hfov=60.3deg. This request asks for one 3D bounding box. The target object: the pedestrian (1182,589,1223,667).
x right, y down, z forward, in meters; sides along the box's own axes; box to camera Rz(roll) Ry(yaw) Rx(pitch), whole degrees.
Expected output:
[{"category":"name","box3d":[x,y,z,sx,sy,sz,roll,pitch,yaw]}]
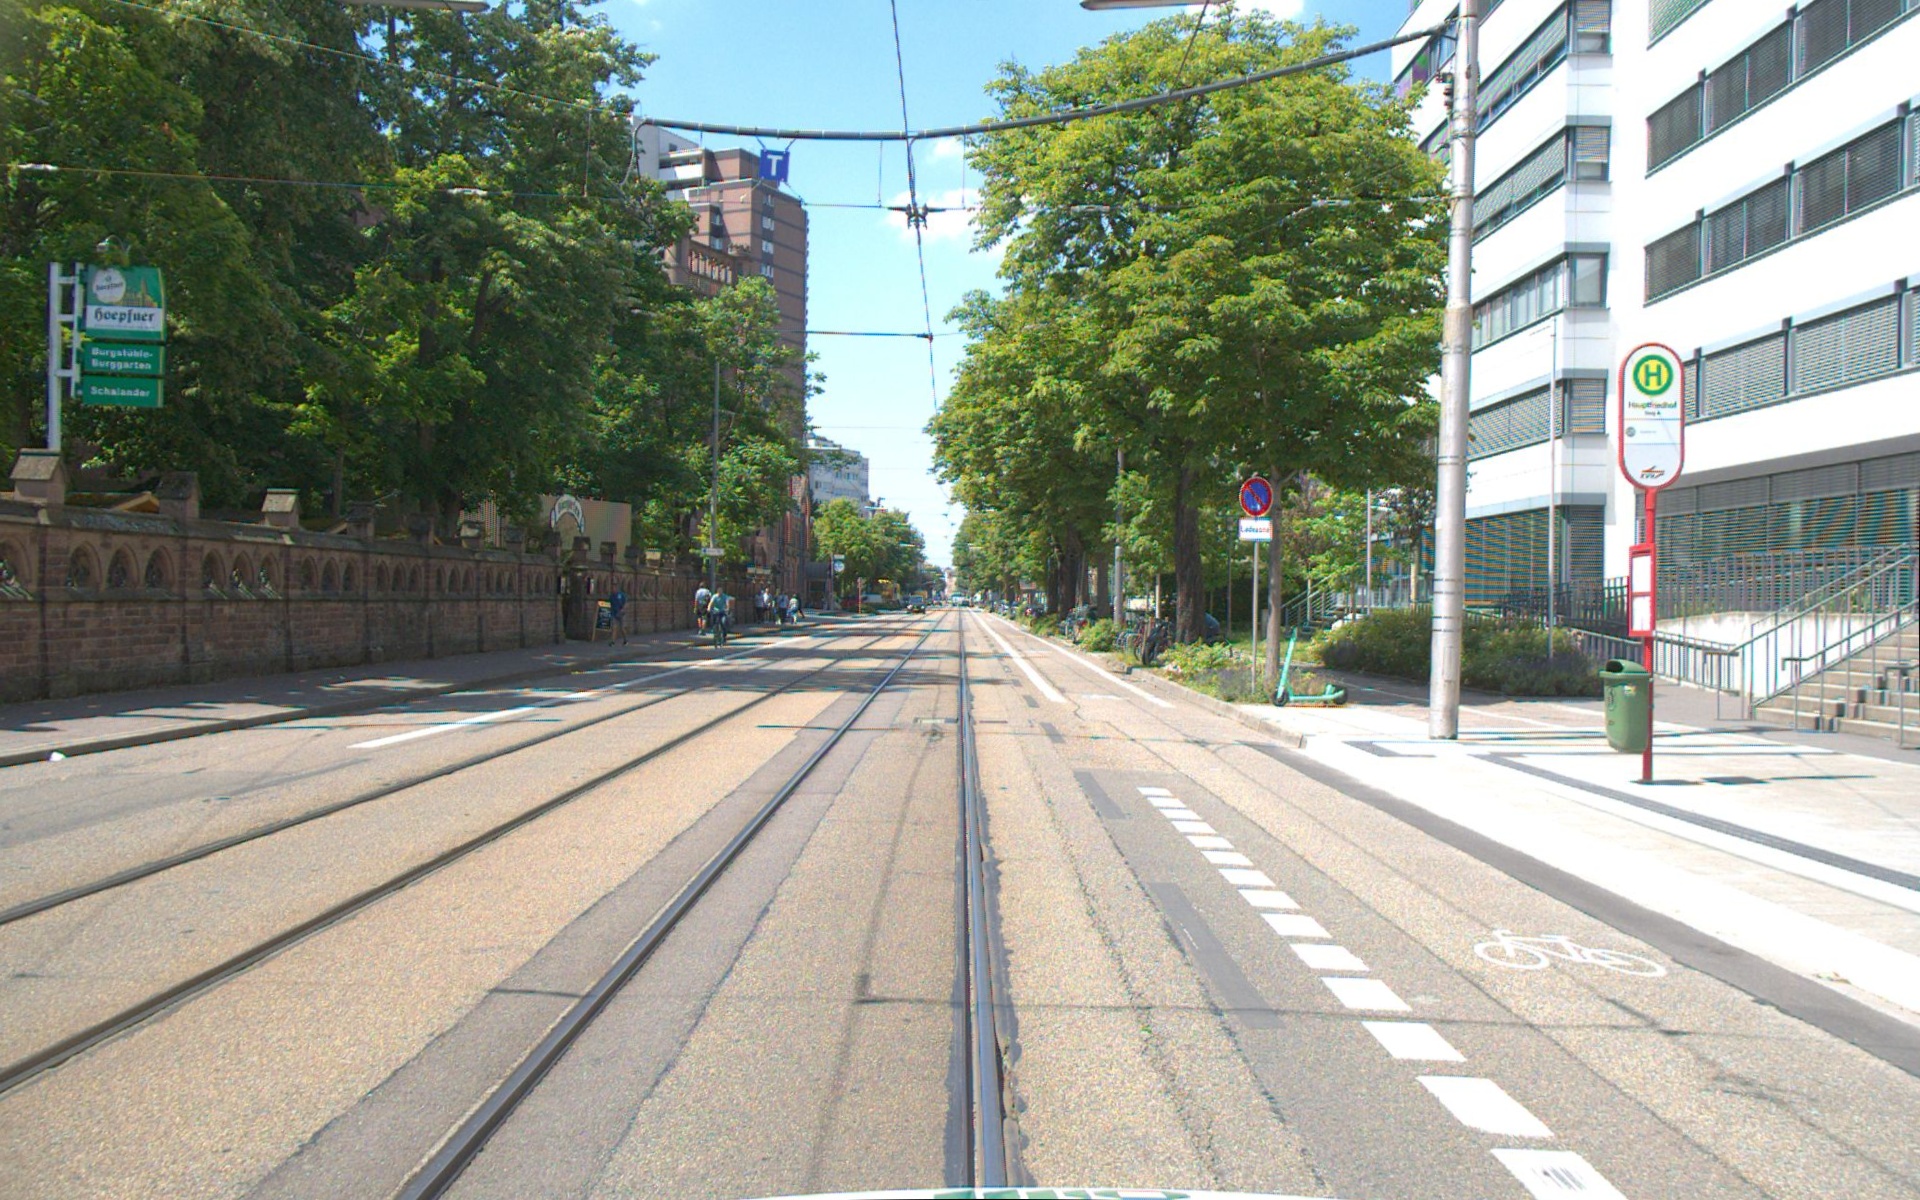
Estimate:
[{"category":"pedestrian","box3d":[5.484,0.626,37.420,0.574,1.745,0.793,0,0,43]}]

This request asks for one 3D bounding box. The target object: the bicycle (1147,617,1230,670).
[{"category":"bicycle","box3d":[5.056,0.959,36.611,1.752,1.121,0.531,1,0,-2]}]

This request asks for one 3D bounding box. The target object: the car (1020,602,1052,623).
[{"category":"car","box3d":[5.037,0.789,109.838,1.953,1.333,4.000,1,0,0]}]

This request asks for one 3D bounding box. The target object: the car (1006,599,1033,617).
[{"category":"car","box3d":[4.689,0.620,131.294,1.953,1.333,4.000,1,0,0]}]

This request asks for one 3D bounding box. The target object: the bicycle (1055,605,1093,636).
[{"category":"bicycle","box3d":[4.678,0.849,68.091,1.532,1.263,0.437,1,0,1]}]

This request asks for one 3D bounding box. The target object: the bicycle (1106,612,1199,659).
[{"category":"bicycle","box3d":[5.194,0.955,44.714,2.458,1.231,0.742,1,0,4]}]

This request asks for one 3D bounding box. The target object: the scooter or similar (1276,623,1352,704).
[{"category":"scooter or similar","box3d":[5.245,0.936,24.539,1.037,1.176,0.370,0,0,0]}]

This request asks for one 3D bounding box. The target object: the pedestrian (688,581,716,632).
[{"category":"pedestrian","box3d":[-9.181,0.225,58.846,0.798,1.801,0.924,1,0,-1]}]

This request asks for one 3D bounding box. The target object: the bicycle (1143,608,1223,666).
[{"category":"bicycle","box3d":[5.090,0.841,37.778,1.717,1.293,0.530,1,0,-3]}]

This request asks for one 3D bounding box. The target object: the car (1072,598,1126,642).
[{"category":"car","box3d":[5.057,0.705,60.578,1.600,1.527,4.000,1,0,0]}]

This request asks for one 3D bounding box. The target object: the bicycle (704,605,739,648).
[{"category":"bicycle","box3d":[-7.070,0.758,49.118,0.686,1.225,2.240,-1,0,0]}]

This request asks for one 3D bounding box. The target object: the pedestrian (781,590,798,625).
[{"category":"pedestrian","box3d":[-8.696,0.372,84.276,0.728,1.758,0.867,1,0,-1]}]

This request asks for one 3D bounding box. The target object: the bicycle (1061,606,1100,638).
[{"category":"bicycle","box3d":[4.827,0.868,66.476,1.532,1.263,0.437,1,0,1]}]

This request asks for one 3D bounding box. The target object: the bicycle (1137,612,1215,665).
[{"category":"bicycle","box3d":[5.005,0.897,38.332,1.717,1.186,0.530,1,0,-3]}]

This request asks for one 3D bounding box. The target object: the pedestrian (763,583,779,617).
[{"category":"pedestrian","box3d":[-9.815,-0.002,85.863,0.728,1.758,0.867,1,0,-1]}]

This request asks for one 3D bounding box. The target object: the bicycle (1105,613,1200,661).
[{"category":"bicycle","box3d":[5.104,0.986,43.988,2.458,1.231,0.622,1,0,4]}]

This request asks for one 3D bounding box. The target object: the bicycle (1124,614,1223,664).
[{"category":"bicycle","box3d":[5.476,0.999,42.507,2.458,1.231,0.648,1,0,4]}]

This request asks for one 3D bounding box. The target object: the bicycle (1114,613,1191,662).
[{"category":"bicycle","box3d":[5.022,0.975,43.290,1.955,1.231,0.662,1,0,4]}]

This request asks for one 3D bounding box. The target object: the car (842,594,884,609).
[{"category":"car","box3d":[-11.718,0.189,200.110,4.674,1.747,1.982,1,0,-28]}]

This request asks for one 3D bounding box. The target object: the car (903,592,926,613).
[{"category":"car","box3d":[-4.447,0.257,162.633,1.952,2.049,4.001,1,0,2]}]

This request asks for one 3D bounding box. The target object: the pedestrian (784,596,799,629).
[{"category":"pedestrian","box3d":[-8.945,0.669,87.809,0.728,1.758,0.867,1,0,-1]}]

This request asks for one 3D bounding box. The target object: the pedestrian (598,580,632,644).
[{"category":"pedestrian","box3d":[-9.671,0.330,46.374,0.728,1.758,0.867,1,0,-1]}]

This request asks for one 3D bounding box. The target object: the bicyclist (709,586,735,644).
[{"category":"bicyclist","box3d":[-7.071,0.436,49.222,0.628,1.709,0.815,1,0,0]}]

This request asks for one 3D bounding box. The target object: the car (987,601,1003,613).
[{"category":"car","box3d":[4.364,0.868,205.863,1.953,1.333,4.000,1,0,0]}]

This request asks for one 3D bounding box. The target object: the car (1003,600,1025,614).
[{"category":"car","box3d":[5.285,0.634,162.028,1.953,1.333,4.000,1,0,0]}]

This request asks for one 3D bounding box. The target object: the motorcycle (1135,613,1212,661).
[{"category":"motorcycle","box3d":[5.144,0.888,39.899,1.787,1.130,0.598,1,0,0]}]

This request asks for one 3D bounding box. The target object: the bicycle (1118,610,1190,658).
[{"category":"bicycle","box3d":[4.912,0.860,41.854,1.717,1.186,0.530,1,0,-3]}]

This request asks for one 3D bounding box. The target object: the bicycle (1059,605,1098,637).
[{"category":"bicycle","box3d":[4.797,0.858,66.980,1.532,1.263,0.437,1,0,1]}]

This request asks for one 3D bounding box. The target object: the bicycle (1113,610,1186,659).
[{"category":"bicycle","box3d":[4.736,0.853,41.351,1.717,1.186,0.530,1,0,-3]}]
